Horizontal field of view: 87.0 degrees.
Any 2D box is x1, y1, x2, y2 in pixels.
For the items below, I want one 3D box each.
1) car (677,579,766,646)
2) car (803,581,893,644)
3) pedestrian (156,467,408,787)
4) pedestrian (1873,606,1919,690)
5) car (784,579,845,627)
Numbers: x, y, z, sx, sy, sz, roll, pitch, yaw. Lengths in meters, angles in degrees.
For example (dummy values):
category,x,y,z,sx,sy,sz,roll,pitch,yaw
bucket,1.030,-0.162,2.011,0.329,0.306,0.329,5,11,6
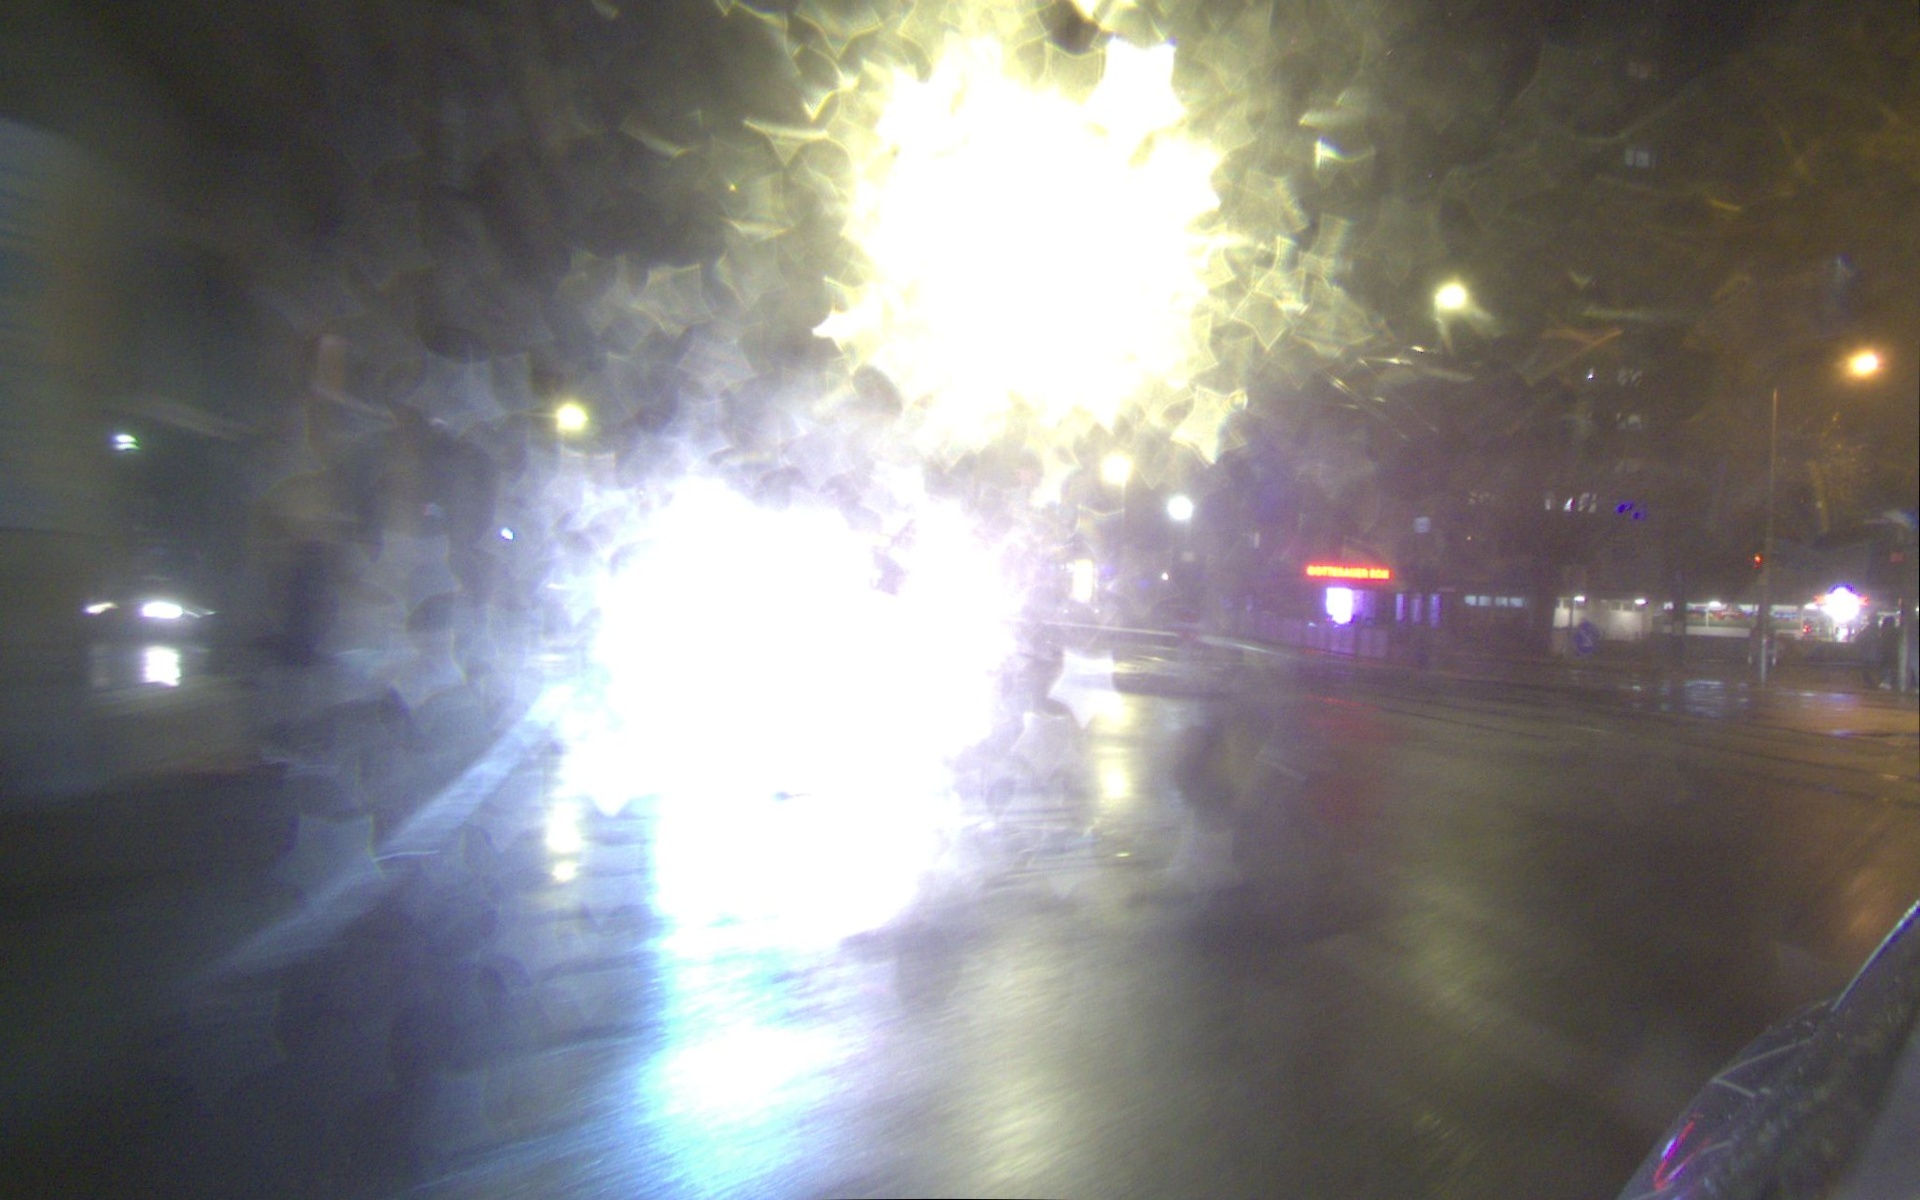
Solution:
category,x,y,z,sx,sy,sz,roll,pitch,yaw
car,-6.434,0.287,26.968,1.881,1.599,4.599,2,0,-18
car,-3.192,0.318,28.147,1.706,1.599,3.806,2,0,-18
pedestrian,-4.756,0.182,7.198,0.995,2.039,0.978,5,-1,-5
pedestrian,21.701,1.097,23.073,0.834,1.849,1.111,3,0,-33
car,-5.209,0.088,35.921,1.655,1.599,3.737,2,0,-15
